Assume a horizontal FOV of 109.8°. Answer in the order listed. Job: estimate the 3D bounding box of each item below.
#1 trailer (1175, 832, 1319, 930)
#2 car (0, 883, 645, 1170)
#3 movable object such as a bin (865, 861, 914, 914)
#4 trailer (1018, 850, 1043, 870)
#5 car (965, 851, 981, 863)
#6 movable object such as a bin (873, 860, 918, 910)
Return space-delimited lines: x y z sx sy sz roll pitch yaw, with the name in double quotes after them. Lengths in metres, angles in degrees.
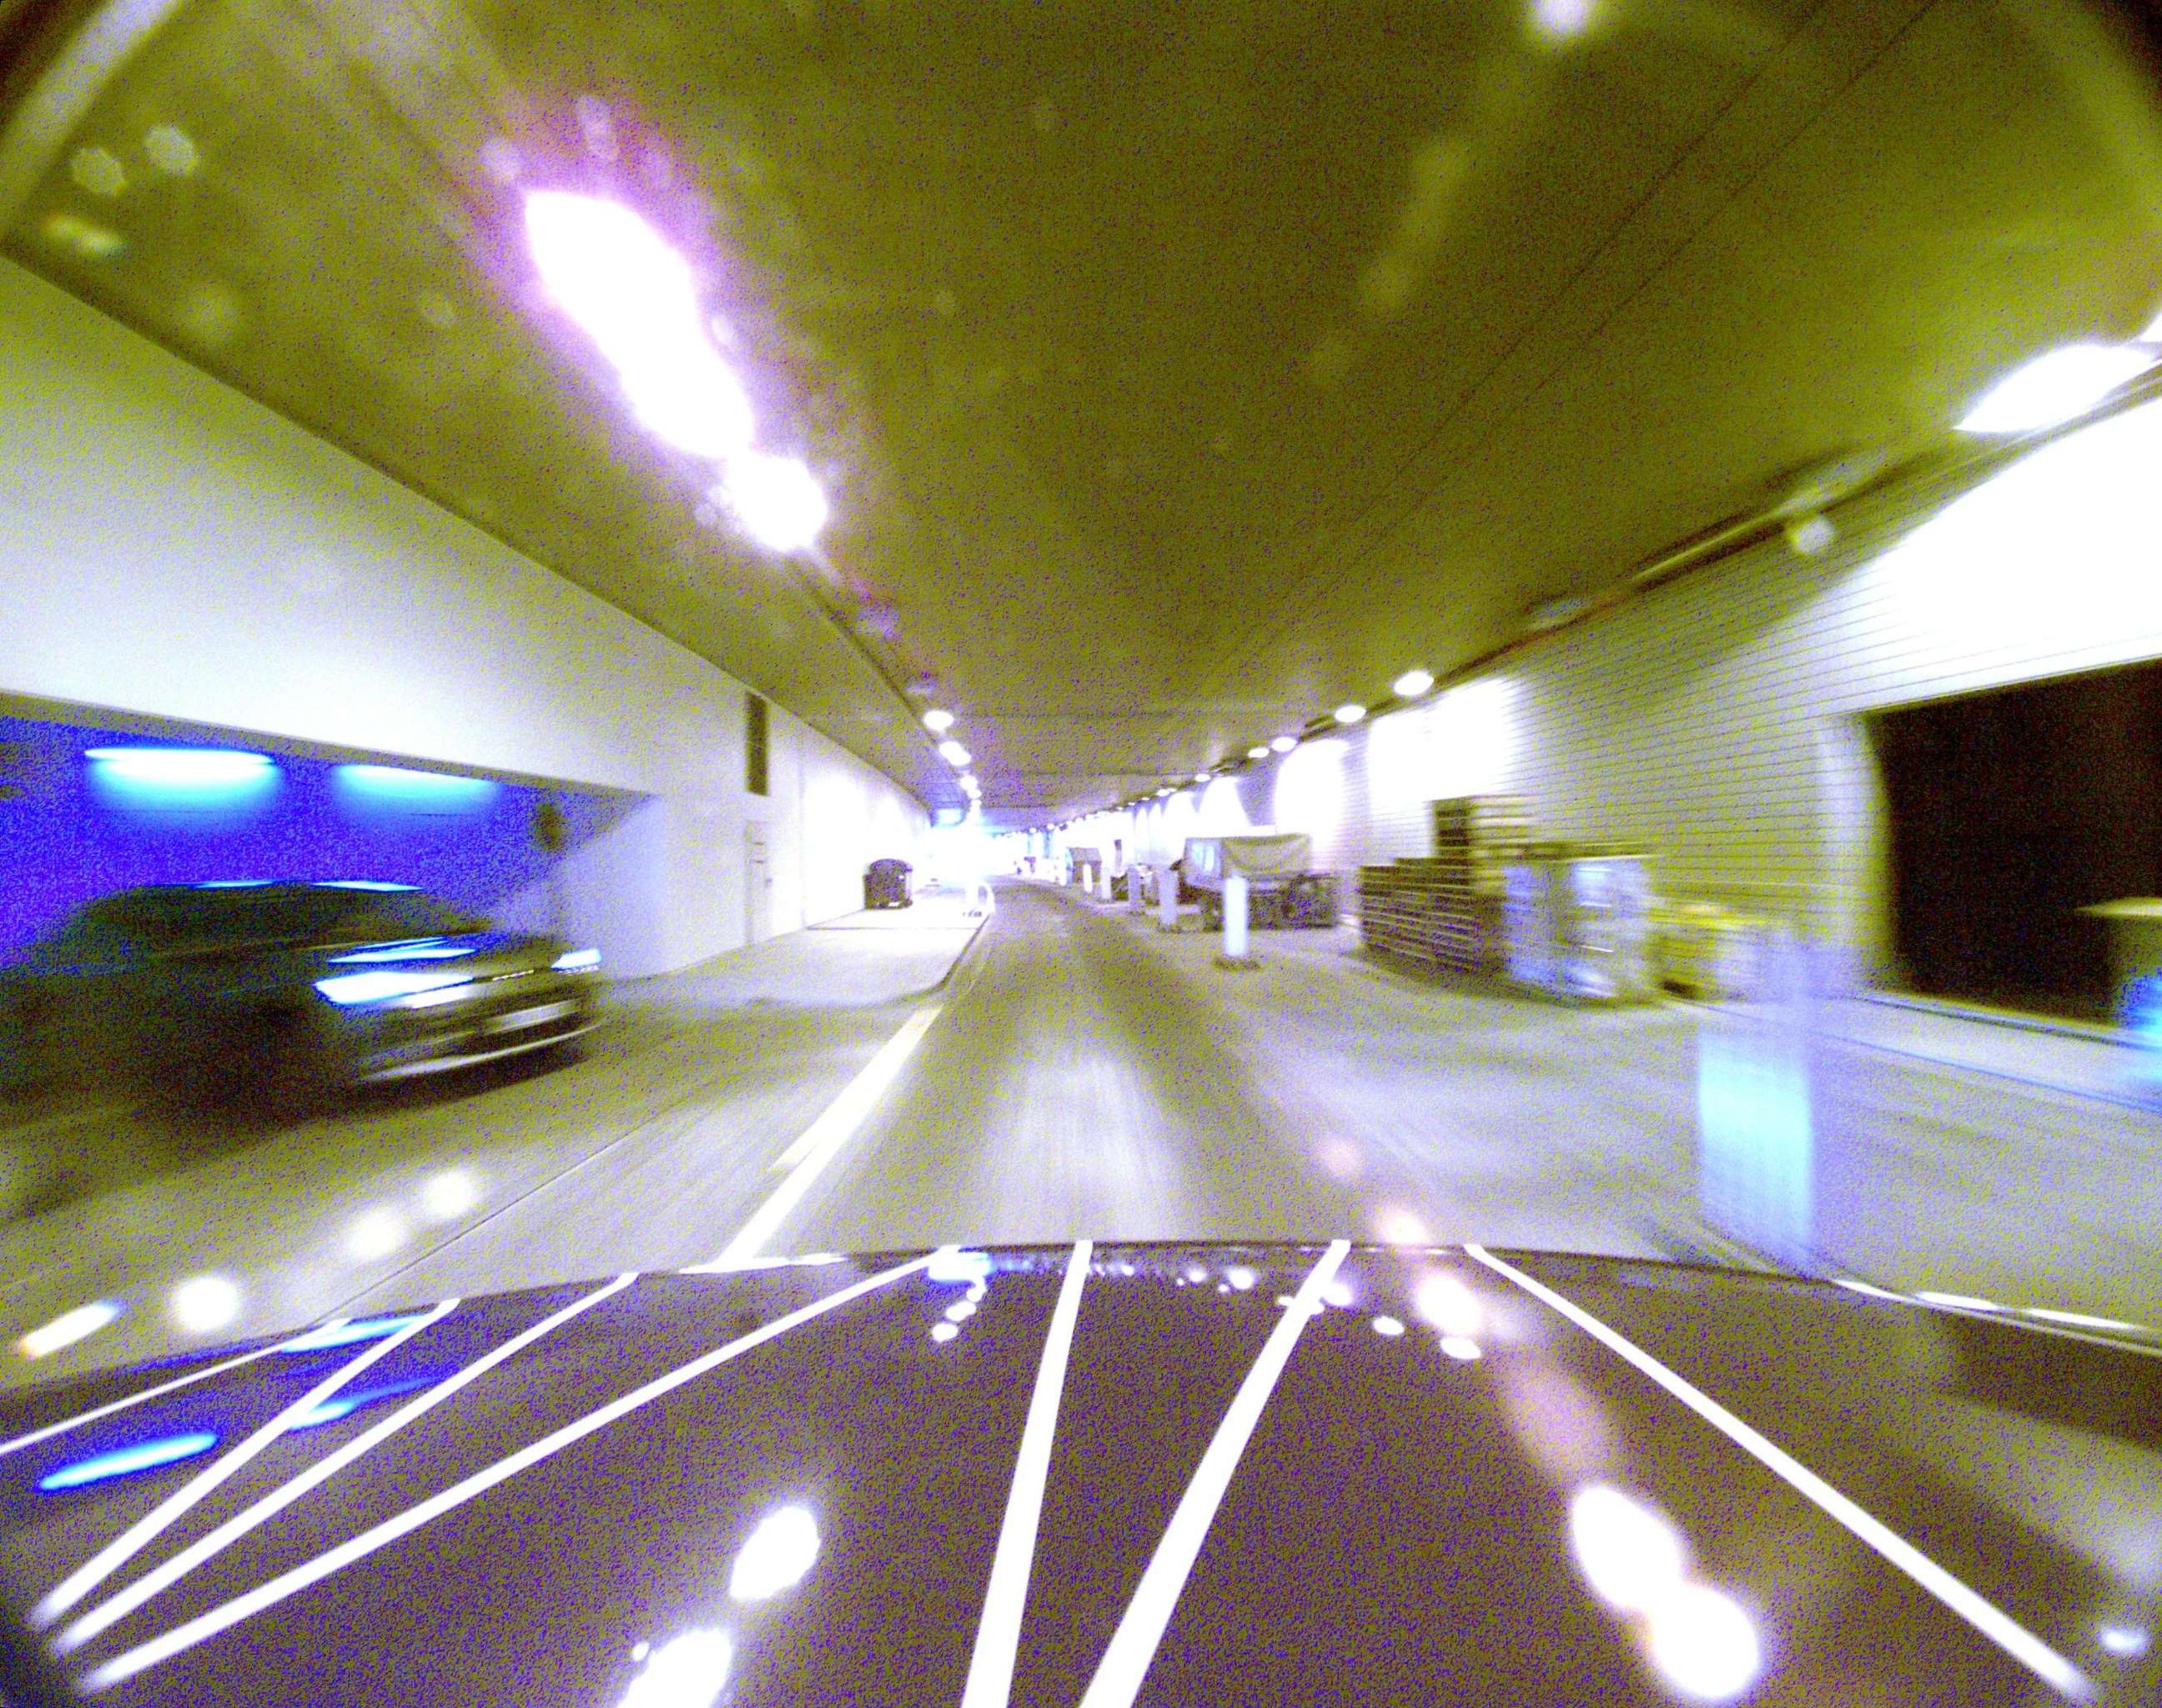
3.739 0.557 17.786 2.215 2.002 3.463 -2 1 -7 "trailer"
-5.861 1.068 5.809 4.232 1.537 1.900 -1 1 16 "car"
-5.463 0.934 21.764 1.149 1.437 1.363 -2 1 -6 "movable object such as a bin"
-4.606 0.515 69.146 1.645 1.781 3.118 -2 1 -15 "trailer"
-16.813 0.486 118.145 2.001 1.743 3.995 -2 1 -13 "car"
-5.660 0.919 23.266 1.101 1.437 1.321 -2 1 -6 "movable object such as a bin"
